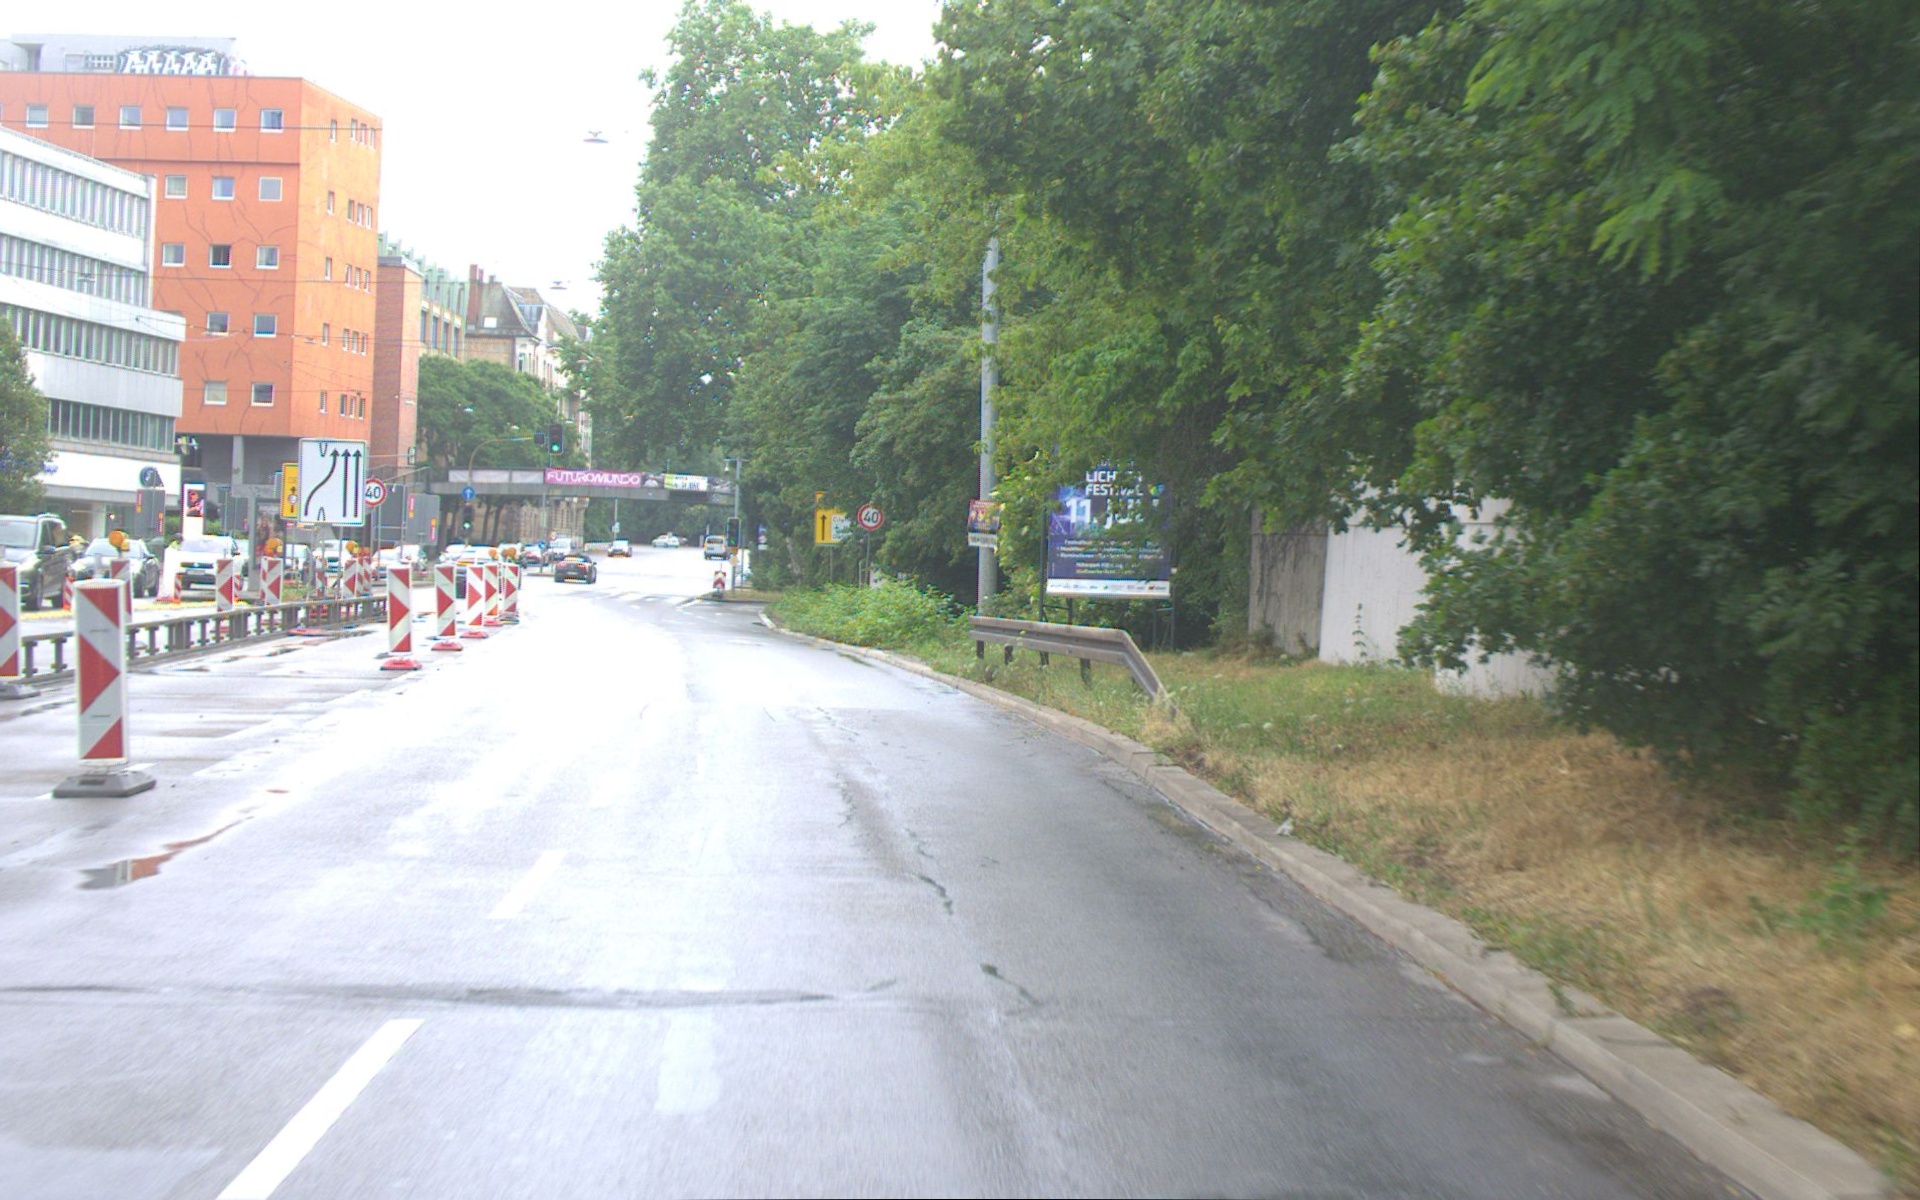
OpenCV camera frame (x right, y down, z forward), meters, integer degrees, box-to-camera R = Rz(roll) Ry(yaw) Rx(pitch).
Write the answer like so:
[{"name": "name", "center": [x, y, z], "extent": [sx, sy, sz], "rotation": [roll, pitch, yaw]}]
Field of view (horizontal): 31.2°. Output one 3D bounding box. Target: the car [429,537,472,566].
[{"name": "car", "center": [-29.179, -2.763, 197.059], "extent": [1.808, 1.553, 4.301], "rotation": [2, 1, 0]}]

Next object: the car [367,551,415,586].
[{"name": "car", "center": [-24.716, -1.378, 149.344], "extent": [1.735, 1.399, 4.290], "rotation": [3, 1, -6]}]

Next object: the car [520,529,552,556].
[{"name": "car", "center": [-28.406, -3.830, 230.537], "extent": [1.733, 1.780, 4.302], "rotation": [1, 1, -2]}]

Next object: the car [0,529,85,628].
[{"name": "car", "center": [-19.246, -0.464, 69.748], "extent": [1.993, 1.930, 5.232], "rotation": [0, 1, -4]}]

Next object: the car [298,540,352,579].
[{"name": "car", "center": [-28.797, -1.845, 156.026], "extent": [1.979, 1.701, 4.832], "rotation": [2, 1, -6]}]

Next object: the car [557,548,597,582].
[{"name": "car", "center": [-19.396, -1.769, 174.219], "extent": [1.763, 1.691, 3.706], "rotation": [1, 1, -3]}]

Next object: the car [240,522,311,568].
[{"name": "car", "center": [-24.021, -1.933, 120.756], "extent": [1.958, 1.516, 4.301], "rotation": [2, 1, -5]}]

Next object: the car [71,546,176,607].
[{"name": "car", "center": [-21.138, -0.621, 87.042], "extent": [1.851, 1.461, 4.708], "rotation": [1, 1, -5]}]

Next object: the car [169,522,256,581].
[{"name": "car", "center": [-22.400, -1.473, 103.170], "extent": [1.938, 1.684, 4.581], "rotation": [1, 1, -5]}]
